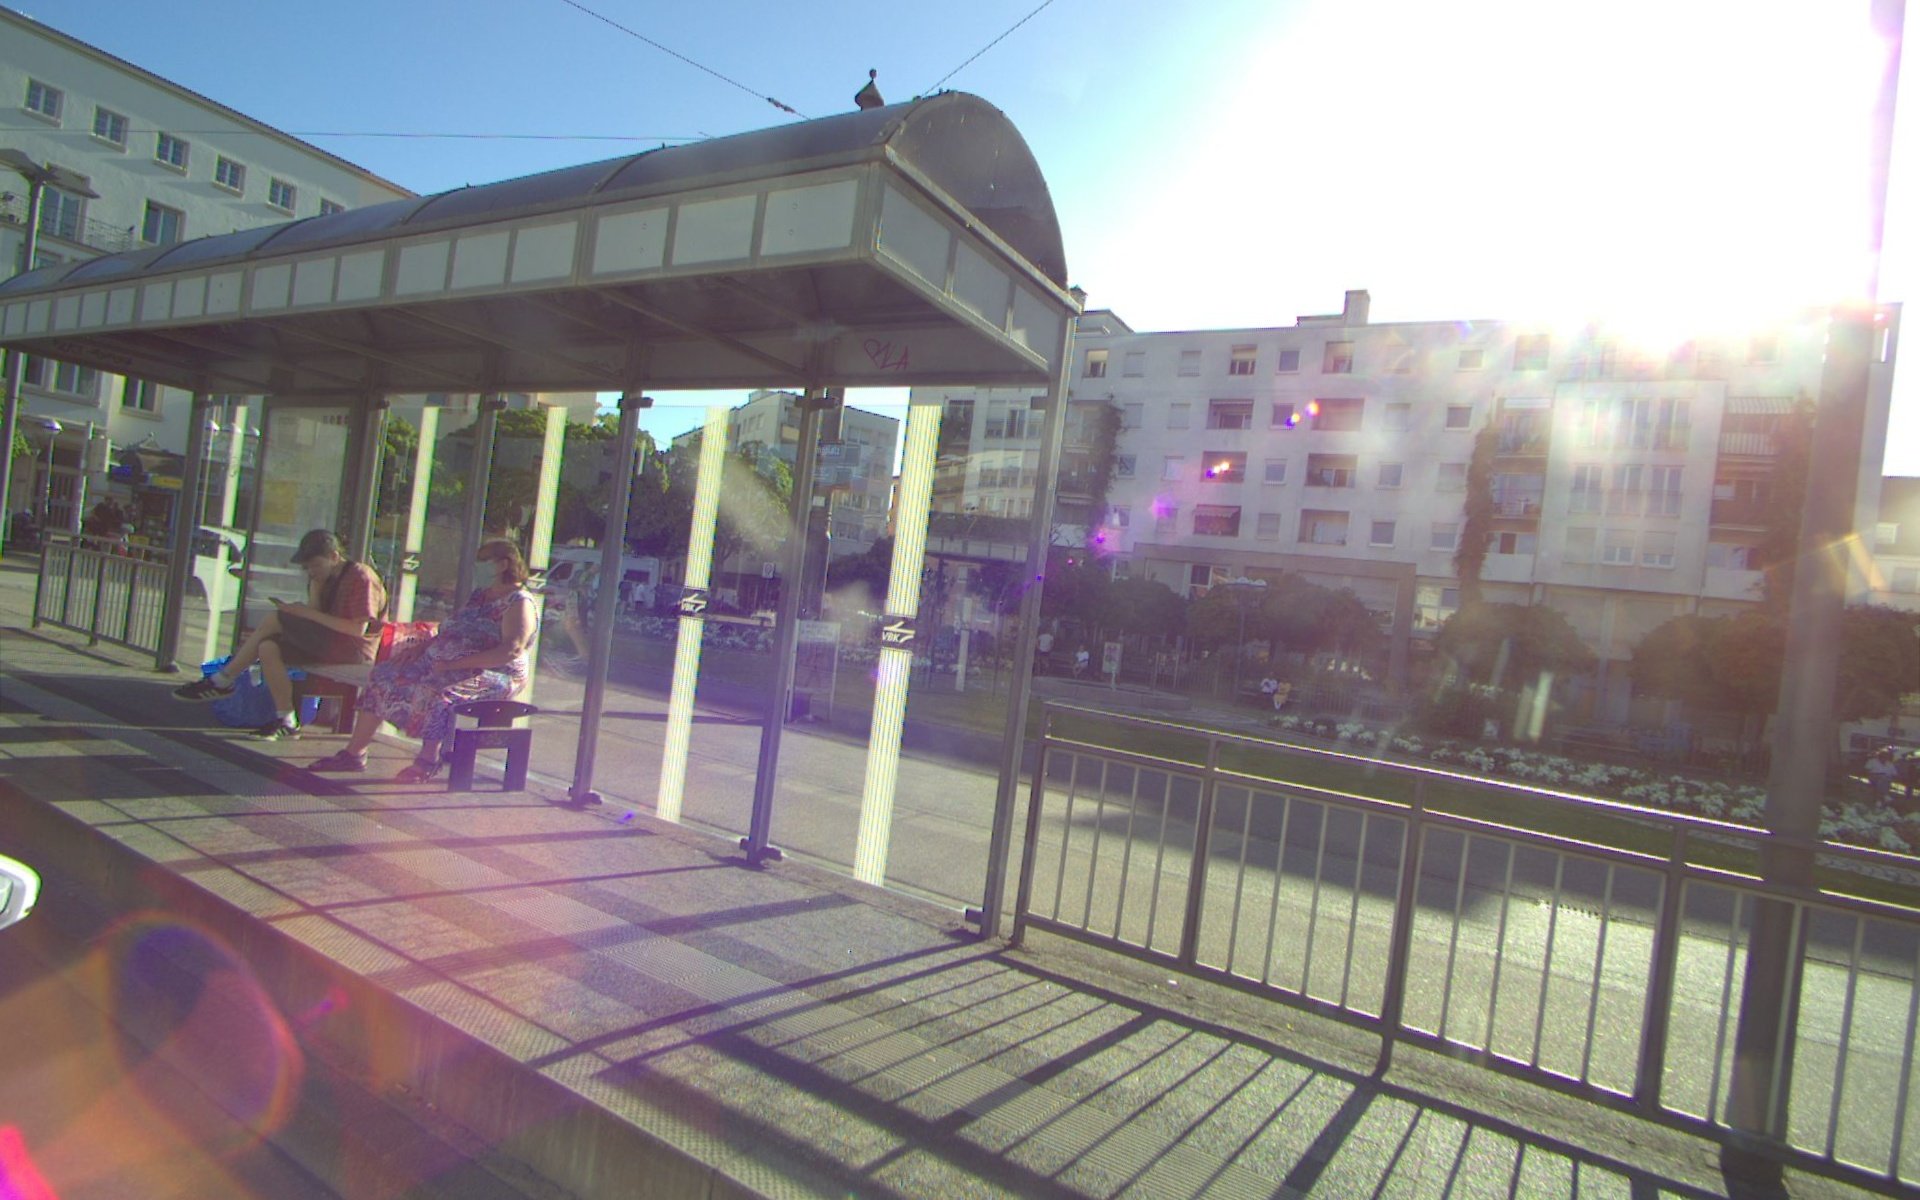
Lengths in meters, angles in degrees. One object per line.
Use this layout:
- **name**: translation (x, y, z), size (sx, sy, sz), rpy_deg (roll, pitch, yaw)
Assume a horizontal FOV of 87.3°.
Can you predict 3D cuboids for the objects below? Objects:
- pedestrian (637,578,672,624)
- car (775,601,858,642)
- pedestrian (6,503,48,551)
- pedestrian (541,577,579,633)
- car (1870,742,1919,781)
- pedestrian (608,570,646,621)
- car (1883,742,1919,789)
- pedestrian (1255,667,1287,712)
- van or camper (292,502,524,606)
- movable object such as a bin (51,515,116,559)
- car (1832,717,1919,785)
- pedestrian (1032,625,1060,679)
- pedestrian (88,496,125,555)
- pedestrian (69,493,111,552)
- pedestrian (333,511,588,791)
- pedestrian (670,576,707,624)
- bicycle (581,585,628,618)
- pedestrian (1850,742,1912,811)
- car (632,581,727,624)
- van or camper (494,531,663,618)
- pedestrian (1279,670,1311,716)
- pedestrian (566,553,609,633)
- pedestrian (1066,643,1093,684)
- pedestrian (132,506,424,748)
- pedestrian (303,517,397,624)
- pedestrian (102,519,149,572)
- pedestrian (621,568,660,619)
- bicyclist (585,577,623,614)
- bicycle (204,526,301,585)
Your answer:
- **pedestrian**: translation (-11.562, 0.036, 38.045), size (0.651, 1.604, 0.902), rpy_deg (7, 0, 35)
- **car**: translation (-6.745, 1.066, 47.730), size (1.964, 1.503, 4.000), rpy_deg (7, -1, 23)
- **pedestrian**: translation (-27.994, -2.179, 30.185), size (0.736, 1.332, 0.622), rpy_deg (7, 0, -35)
- **pedestrian**: translation (-8.991, 0.106, 22.621), size (0.550, 1.182, 0.469), rpy_deg (6, -2, 40)
- **car**: translation (39.684, 6.763, 40.724), size (3.941, 1.303, 1.993), rpy_deg (7, -1, 38)
- **pedestrian**: translation (-11.897, -0.149, 35.940), size (0.684, 1.705, 0.902), rpy_deg (7, 0, 35)
- **car**: translation (36.683, 6.337, 36.828), size (3.941, 1.535, 1.993), rpy_deg (7, -1, 38)
- **pedestrian**: translation (9.652, 2.773, 31.251), size (0.718, 1.287, 0.745), rpy_deg (7, 0, 11)
- **van or camper**: translation (-20.376, -1.609, 37.606), size (2.331, 2.780, 7.132), rpy_deg (9, 0, 32)
- **movable object such as a bin**: translation (-28.102, -2.010, 32.273), size (1.197, 1.167, 1.200), rpy_deg (7, -1, 32)
- **car**: translation (43.896, 7.070, 45.267), size (6.284, 2.585, 2.813), rpy_deg (7, -1, 26)
- **pedestrian**: translation (2.950, 1.781, 34.550), size (0.661, 1.745, 1.028), rpy_deg (7, 0, 11)
- **pedestrian**: translation (-28.592, -2.503, 33.704), size (0.649, 1.861, 0.653), rpy_deg (7, 0, 35)
- **pedestrian**: translation (-29.445, -2.612, 34.043), size (0.667, 1.861, 0.785), rpy_deg (7, 0, 35)
- **pedestrian**: translation (-2.668, 0.291, 5.432), size (0.613, 1.348, 0.861), rpy_deg (6, -4, 31)
- **pedestrian**: translation (-9.896, -0.006, 36.683), size (0.651, 1.605, 0.902), rpy_deg (7, 0, 35)
- **bicycle**: translation (-13.814, 0.083, 39.149), size (0.707, 1.073, 2.326), rpy_deg (8, -2, 4)
- **pedestrian**: translation (21.703, 4.138, 23.744), size (0.923, 1.428, 1.521), rpy_deg (7, -1, 42)
- **car**: translation (-13.847, 0.136, 49.811), size (1.974, 1.529, 3.982), rpy_deg (6, -3, 43)
- **van or camper**: translation (-16.452, -1.034, 43.804), size (2.340, 2.873, 6.411), rpy_deg (7, -1, 35)
- **pedestrian**: translation (10.355, 2.862, 31.109), size (0.718, 1.287, 0.745), rpy_deg (7, 0, 11)
- **pedestrian**: translation (-8.614, -0.151, 23.289), size (0.520, 1.765, 0.557), rpy_deg (6, -1, 42)
- **pedestrian**: translation (4.149, 2.190, 34.802), size (0.718, 1.287, 1.042), rpy_deg (7, 0, 11)
- **pedestrian**: translation (-4.021, 0.179, 5.973), size (0.908, 1.238, 1.001), rpy_deg (6, -4, 32)
- **pedestrian**: translation (-11.801, -0.558, 19.475), size (1.110, 1.900, 0.983), rpy_deg (6, -1, 29)
- **pedestrian**: translation (-24.999, -1.629, 30.143), size (0.742, 1.427, 0.731), rpy_deg (10, 1, 32)
- **pedestrian**: translation (-11.026, -0.217, 34.721), size (0.651, 1.605, 0.902), rpy_deg (7, 0, 35)
- **bicyclist**: translation (-13.803, -0.169, 38.993), size (0.936, 1.239, 0.935), rpy_deg (8, -2, 4)
- **bicycle**: translation (-23.489, -1.467, 33.454), size (0.714, 1.548, 2.391), rpy_deg (7, -3, 31)
